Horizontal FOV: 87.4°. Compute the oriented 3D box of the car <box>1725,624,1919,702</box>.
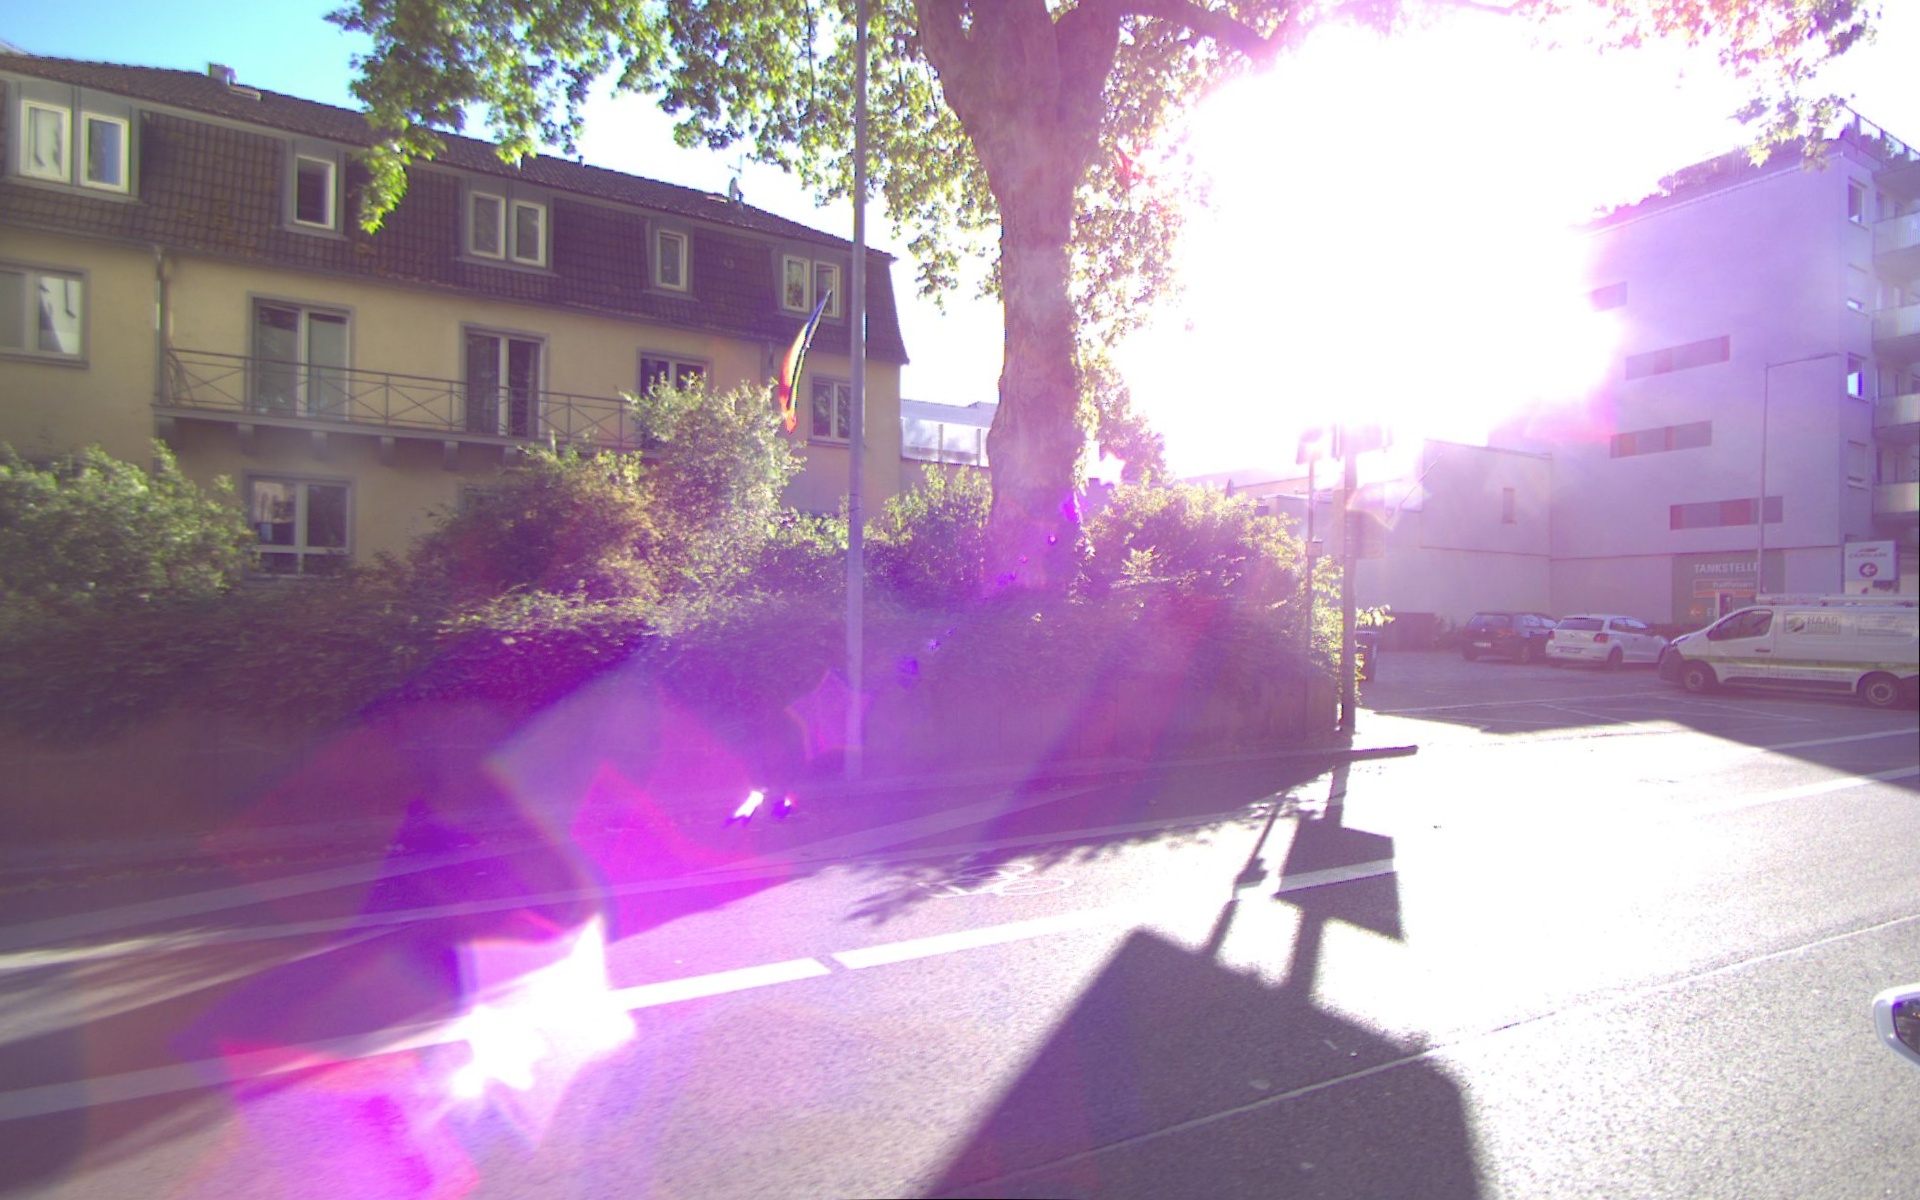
[{"bbox_3d":[19.337,1.323,21.791,1.831,1.452,3.968,1,0,-29],"label":"car"}]

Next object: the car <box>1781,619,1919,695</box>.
[{"bbox_3d":[21.361,1.282,22.708,1.831,1.580,3.968,1,0,-29],"label":"car"}]

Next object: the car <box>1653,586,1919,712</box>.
[{"bbox_3d":[17.403,0.892,20.584,2.114,2.246,4.821,1,1,-29],"label":"car"}]

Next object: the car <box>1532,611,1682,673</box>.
[{"bbox_3d":[17.513,1.104,27.170,3.953,1.484,1.781,1,1,-30],"label":"car"}]

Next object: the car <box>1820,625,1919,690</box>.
[{"bbox_3d":[23.185,1.374,23.749,1.831,1.452,3.968,1,0,-29],"label":"car"}]

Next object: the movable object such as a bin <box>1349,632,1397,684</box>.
[{"bbox_3d":[8.851,1.232,21.533,0.825,1.058,0.525,0,2,-30],"label":"movable object such as a bin"}]

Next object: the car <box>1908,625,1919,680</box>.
[{"bbox_3d":[27.825,1.463,26.333,1.893,1.475,3.968,1,0,-29],"label":"car"}]

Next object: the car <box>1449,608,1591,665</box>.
[{"bbox_3d":[16.155,1.030,28.945,3.953,1.484,1.781,1,1,-30],"label":"car"}]

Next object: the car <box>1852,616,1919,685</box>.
[{"bbox_3d":[25.399,1.314,25.147,2.004,1.706,4.175,1,0,-29],"label":"car"}]
